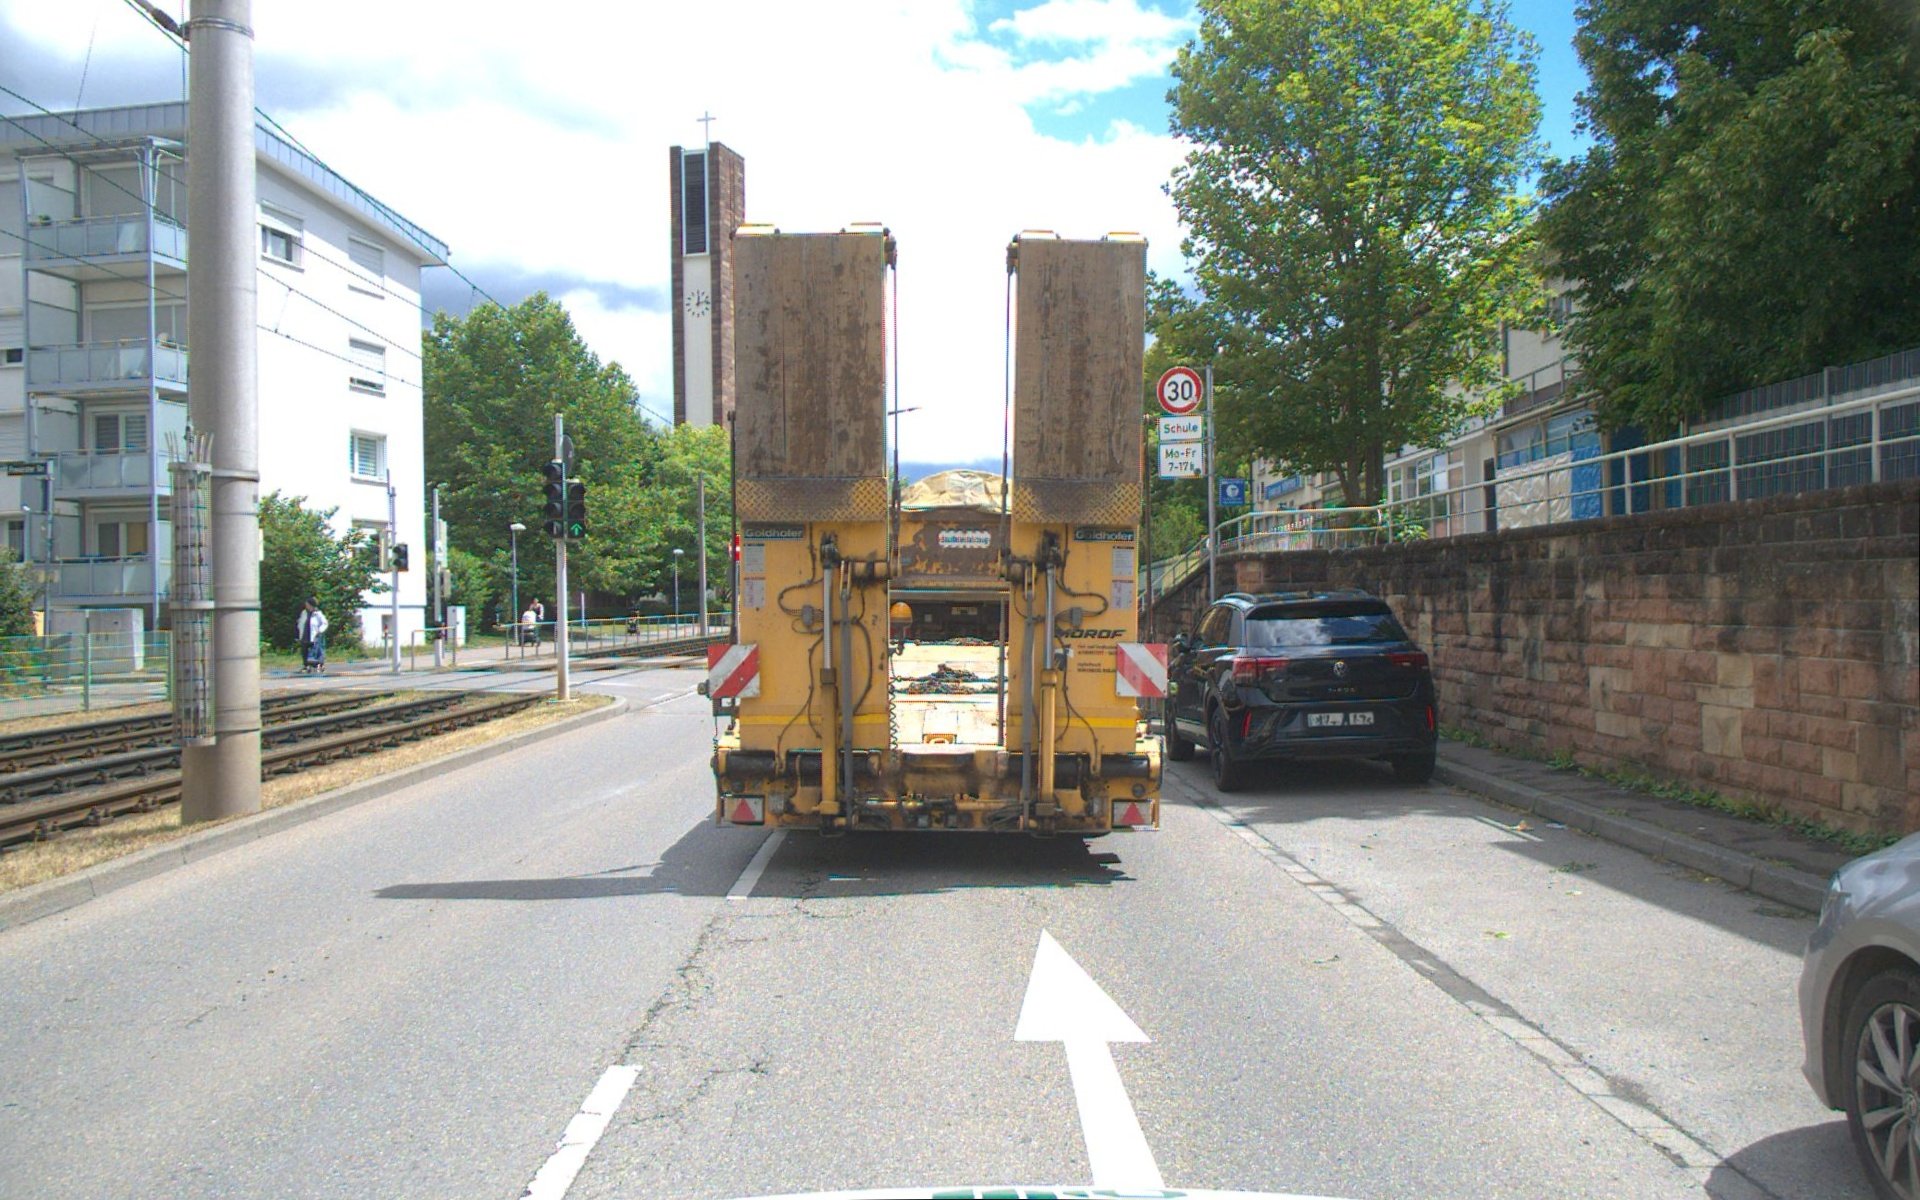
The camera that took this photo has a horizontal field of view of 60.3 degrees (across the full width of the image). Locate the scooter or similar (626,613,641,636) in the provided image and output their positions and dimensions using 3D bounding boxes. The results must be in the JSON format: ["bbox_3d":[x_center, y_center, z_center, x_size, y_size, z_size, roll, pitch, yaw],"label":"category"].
[{"bbox_3d":[-14.326,1.062,72.571,0.495,0.988,0.645,1,0,-2],"label":"scooter or similar"}]

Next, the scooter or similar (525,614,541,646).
[{"bbox_3d":[-14.386,1.016,55.760,0.331,1.076,0.688,-1,0,3],"label":"scooter or similar"}]

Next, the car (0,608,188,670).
[{"bbox_3d":[-20.607,0.904,39.016,3.902,1.369,1.902,-1,0,7],"label":"car"}]

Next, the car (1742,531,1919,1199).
[{"bbox_3d":[3.197,0.631,2.636,1.754,1.646,4.247,-2,0,-2],"label":"car"}]

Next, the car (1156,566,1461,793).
[{"bbox_3d":[2.907,0.611,14.663,1.813,1.668,4.000,-2,0,0],"label":"car"}]

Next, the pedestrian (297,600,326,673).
[{"bbox_3d":[-14.473,0.805,36.912,0.428,1.608,0.475,-1,0,4],"label":"pedestrian"}]

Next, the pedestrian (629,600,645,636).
[{"bbox_3d":[-14.313,0.795,73.227,0.552,1.540,0.645,1,0,-2],"label":"pedestrian"}]

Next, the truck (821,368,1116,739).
[{"bbox_3d":[0.088,-0.461,18.776,2.882,3.635,4.876,-1,0,0],"label":"truck"}]

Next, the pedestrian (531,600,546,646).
[{"bbox_3d":[-14.365,0.789,56.388,0.341,1.564,0.557,-1,0,3],"label":"pedestrian"}]

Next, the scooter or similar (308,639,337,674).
[{"bbox_3d":[-14.107,1.242,36.621,0.428,0.760,0.475,-1,0,4],"label":"scooter or similar"}]

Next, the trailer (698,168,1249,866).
[{"bbox_3d":[0.081,-0.447,13.090,2.885,3.664,8.683,-1,0,0],"label":"trailer"}]
